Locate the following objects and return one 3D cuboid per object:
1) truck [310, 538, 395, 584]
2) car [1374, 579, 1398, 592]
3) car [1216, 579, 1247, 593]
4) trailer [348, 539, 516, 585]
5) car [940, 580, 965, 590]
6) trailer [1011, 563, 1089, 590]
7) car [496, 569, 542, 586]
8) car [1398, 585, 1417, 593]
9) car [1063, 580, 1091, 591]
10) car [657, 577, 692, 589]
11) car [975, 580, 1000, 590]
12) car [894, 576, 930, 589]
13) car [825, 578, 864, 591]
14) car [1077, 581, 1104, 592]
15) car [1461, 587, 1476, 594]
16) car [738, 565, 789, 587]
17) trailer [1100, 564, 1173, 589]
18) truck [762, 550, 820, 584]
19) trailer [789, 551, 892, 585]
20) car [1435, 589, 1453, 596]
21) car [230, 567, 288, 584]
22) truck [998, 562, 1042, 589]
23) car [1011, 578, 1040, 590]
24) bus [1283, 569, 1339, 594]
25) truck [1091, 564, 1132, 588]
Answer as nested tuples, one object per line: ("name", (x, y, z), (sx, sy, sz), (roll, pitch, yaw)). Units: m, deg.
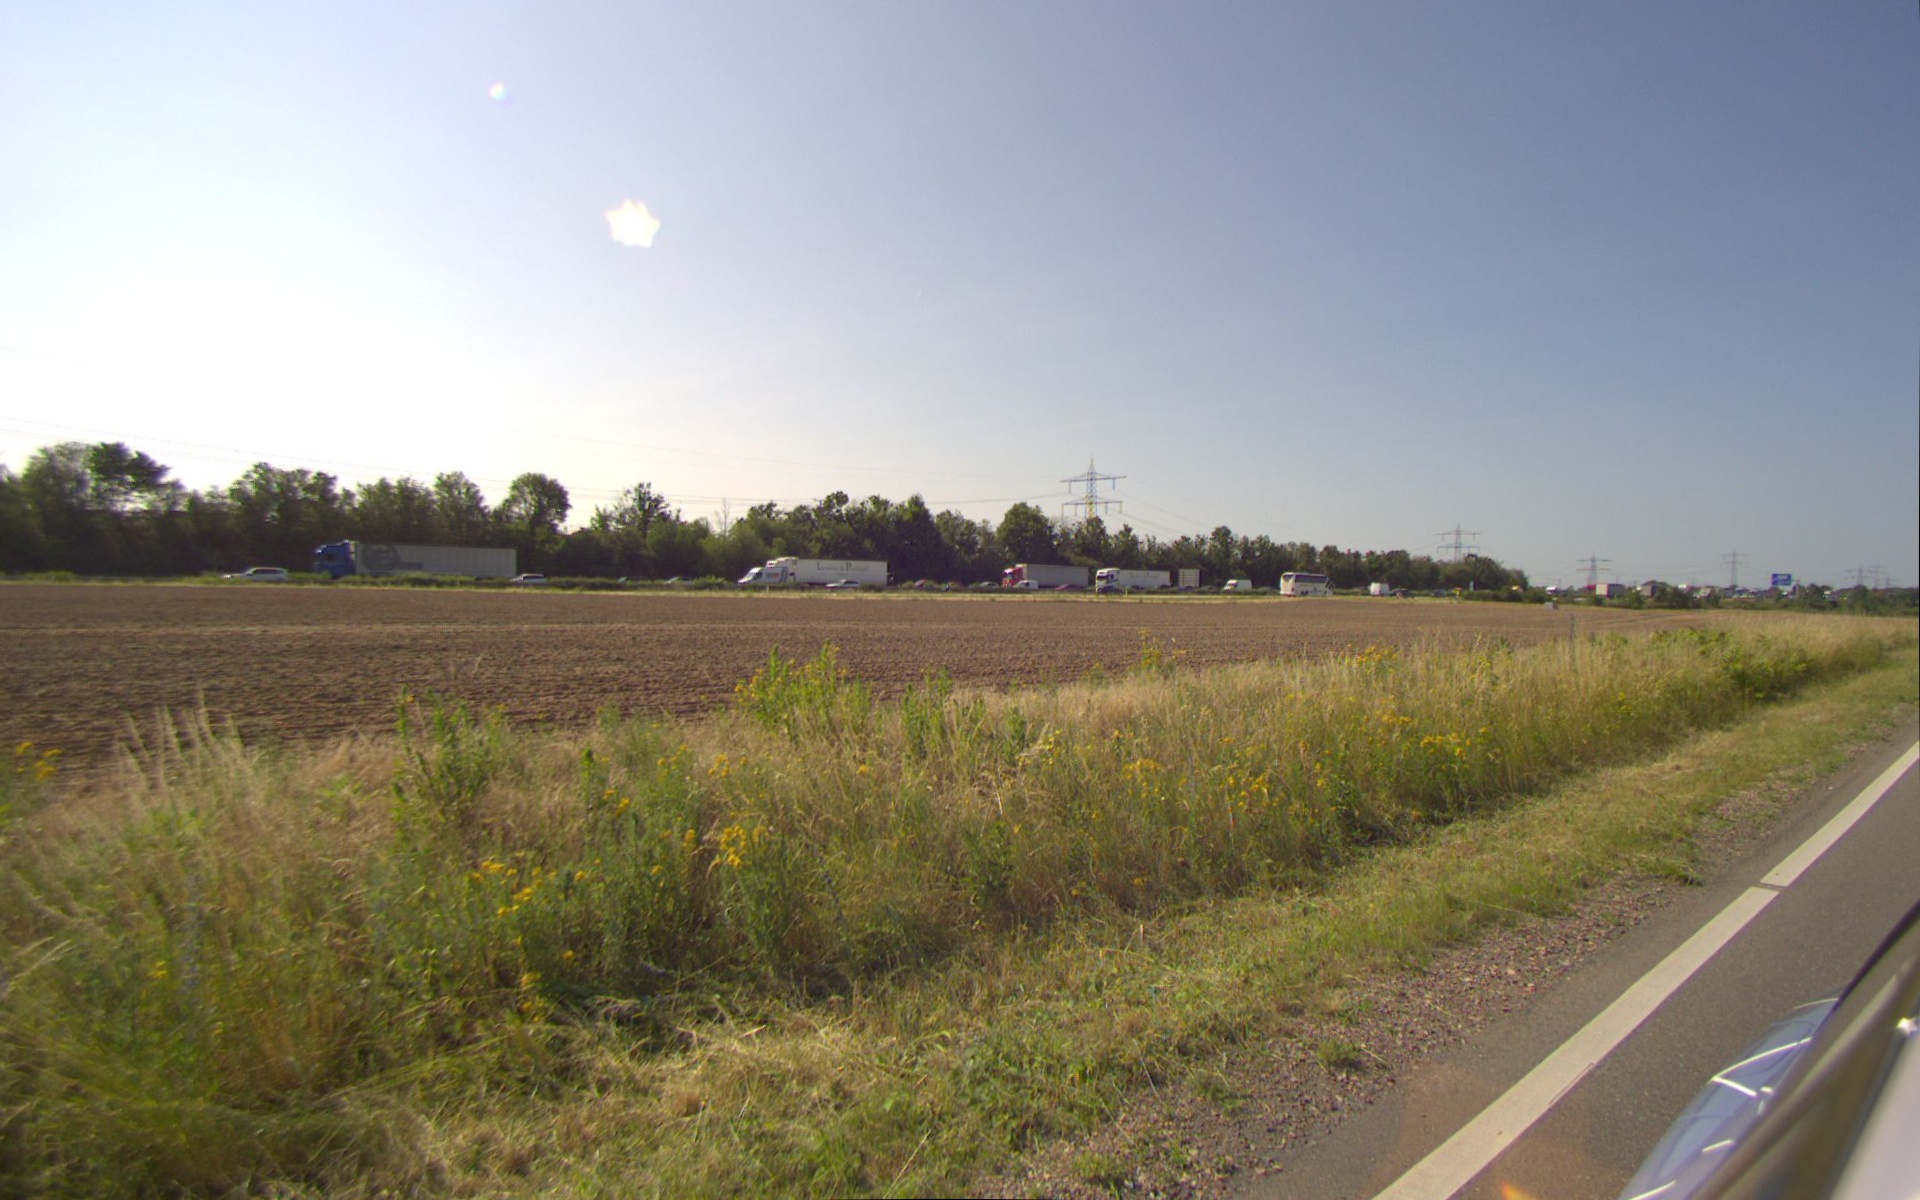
("truck", (-53.121, -3.333, 88.513), (5.980, 3.780, 3.077), (0, 1, -41))
("car", (79.893, -2.700, 189.688), (5.427, 2.402, 1.996), (0, -1, -42))
("car", (46.178, -2.363, 171.911), (6.302, 2.478, 2.040), (0, 0, -41))
("trailer", (-48.155, -3.358, 92.827), (13.391, 3.780, 3.077), (0, 1, -41))
("car", (-1.005, -1.974, 135.094), (3.236, 1.234, 1.341), (0, 0, -43))
("trailer", (13.361, -3.427, 148.919), (13.546, 3.780, 2.949), (0, 1, -42))
("car", (-39.637, -2.035, 90.992), (3.541, 1.403, 1.493), (1, -1, -42))
("car", (82.539, -1.973, 186.585), (4.137, 1.492, 1.705), (0, 0, -41))
("car", (16.529, -2.032, 143.015), (4.024, 1.528, 1.705), (0, 0, -42))
("car", (-28.456, -1.684, 100.979), (3.127, 1.166, 1.396), (1, -1, -42))
("car", (3.629, -1.943, 131.881), (3.237, 1.300, 1.341), (0, 0, -44))
("car", (-5.843, -2.132, 123.617), (4.175, 1.403, 1.853), (1, 0, -42))
("car", (-13.305, -1.828, 116.903), (4.175, 1.403, 1.853), (1, 0, -42))
("car", (17.086, -1.769, 132.352), (3.557, 1.250, 1.547), (1, -2, -42))
("car", (116.313, -2.176, 231.503), (4.024, 1.528, 1.705), (0, 0, -42))
("car", (-21.082, -2.569, 108.610), (5.148, 2.228, 1.907), (1, -1, -43))
("trailer", (28.498, -3.739, 162.335), (14.827, 3.575, 3.207), (0, 2, -43))
("truck", (-19.716, -3.845, 118.398), (6.011, 3.780, 3.077), (0, 1, -41))
("trailer", (-14.374, -3.850, 123.107), (13.133, 3.780, 3.077), (0, 1, -41))
("car", (97.983, -1.476, 204.842), (4.023, 1.391, 1.705), (0, 0, -41))
("car", (-53.822, -1.867, 77.758), (3.519, 1.166, 1.396), (1, -1, -42))
("truck", (8.585, -3.428, 144.558), (5.769, 3.780, 2.949), (0, 1, -42))
("car", (8.798, -2.137, 135.957), (4.025, 1.659, 1.705), (0, 0, -43))
("bus", (58.889, -3.032, 169.612), (14.301, 3.851, 2.465), (1, 1, -43))
("truck", (23.651, -3.745, 157.873), (6.005, 3.575, 3.207), (0, 2, -43))
